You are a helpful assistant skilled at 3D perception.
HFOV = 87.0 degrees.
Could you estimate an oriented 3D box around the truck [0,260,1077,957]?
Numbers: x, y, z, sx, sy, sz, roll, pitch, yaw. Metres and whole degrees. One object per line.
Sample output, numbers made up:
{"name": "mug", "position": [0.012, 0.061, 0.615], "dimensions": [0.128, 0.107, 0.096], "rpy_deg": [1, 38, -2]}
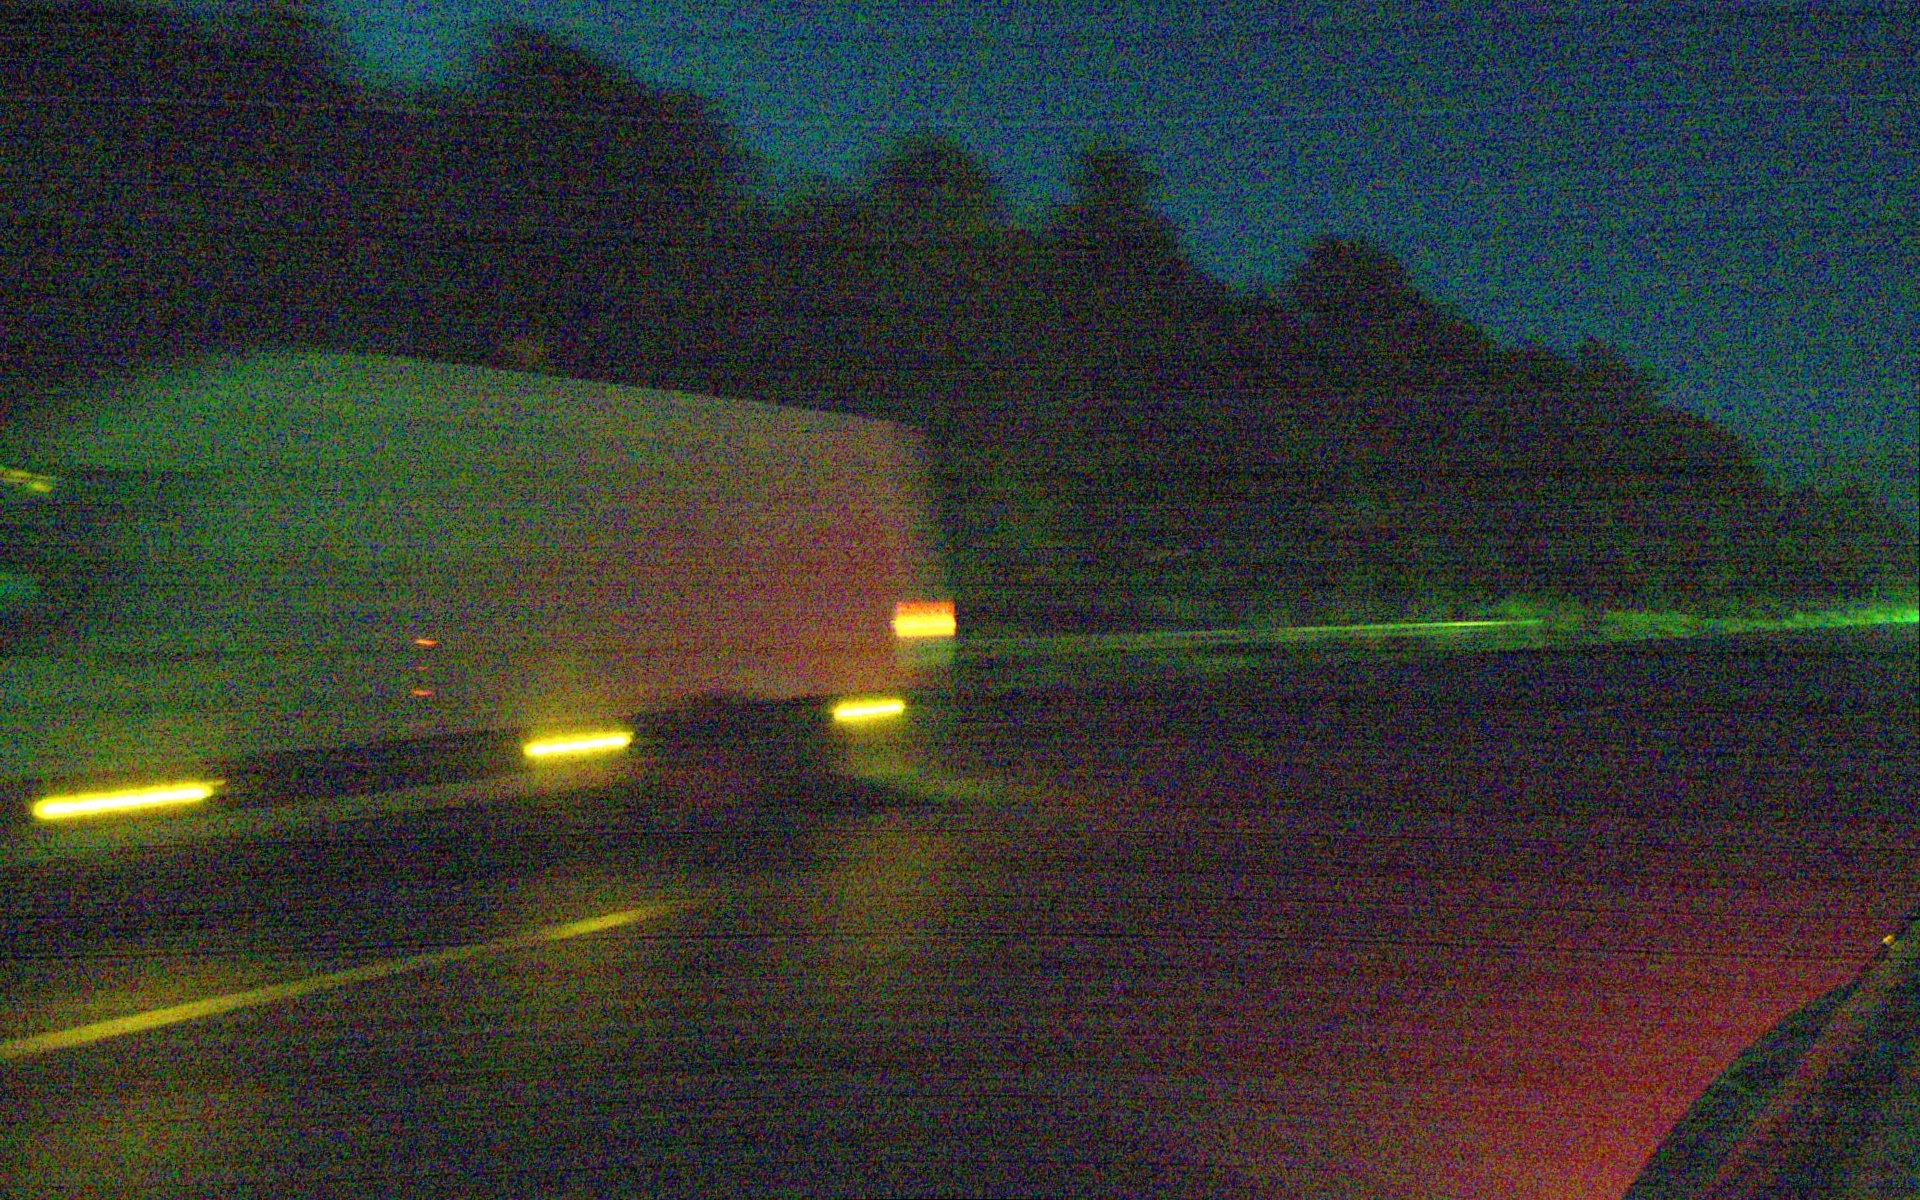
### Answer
{"name": "truck", "position": [-2.457, 0.000, 6.476], "dimensions": [7.181, 2.725, 2.080], "rpy_deg": [-1, 0, -41]}
